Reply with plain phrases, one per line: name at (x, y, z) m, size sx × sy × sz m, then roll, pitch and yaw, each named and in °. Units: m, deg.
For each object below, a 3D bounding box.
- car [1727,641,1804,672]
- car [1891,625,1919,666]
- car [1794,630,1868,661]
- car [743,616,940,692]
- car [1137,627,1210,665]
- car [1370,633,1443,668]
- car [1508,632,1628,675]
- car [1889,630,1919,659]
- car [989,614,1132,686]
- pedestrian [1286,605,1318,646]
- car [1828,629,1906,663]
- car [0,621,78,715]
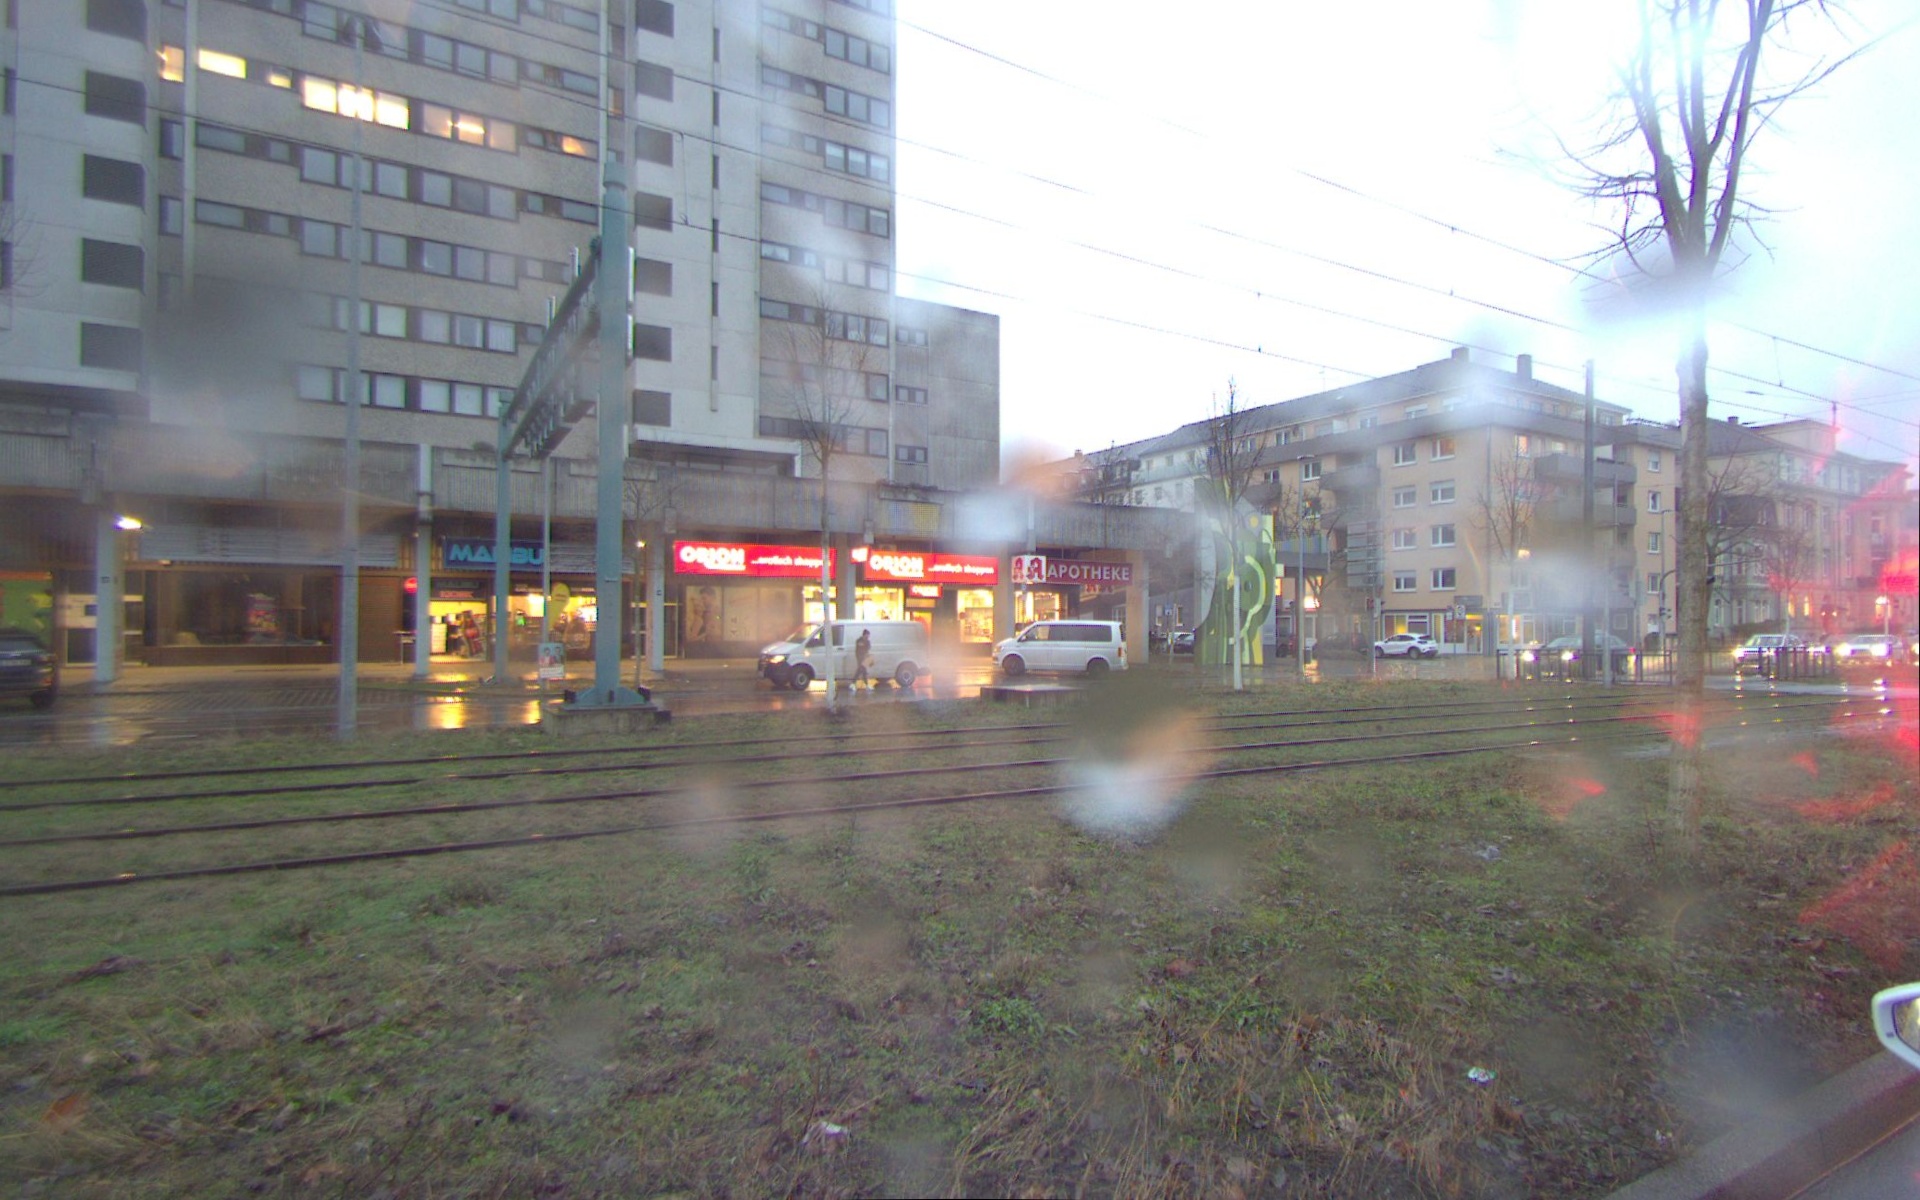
car at (35.494, 2.461, 44.231) m, size 4.108 × 1.294 × 1.679 m, roll 2°, pitch -2°, yaw -36°
car at (40.853, 1.929, 41.865) m, size 3.954 × 1.623 × 1.983 m, roll 2°, pitch 0°, yaw -31°
car at (49.222, 2.579, 56.764) m, size 3.952 × 1.623 × 1.941 m, roll 2°, pitch 0°, yaw -30°
car at (-3.511, 1.590, 29.971) m, size 5.490 × 2.073 × 1.987 m, roll 2°, pitch 0°, yaw -26°
car at (12.383, 2.636, 58.168) m, size 3.830 × 2.040 × 1.884 m, roll 2°, pitch 0°, yaw -31°
car at (27.827, 3.096, 62.648) m, size 1.825 × 1.968 × 3.720 m, roll 1°, pitch 0°, yaw -37°
car at (21.655, 1.880, 35.754) m, size 4.265 × 1.350 × 1.850 m, roll 2°, pitch 0°, yaw -30°
car at (56.707, 2.644, 59.058) m, size 3.952 × 1.623 × 1.941 m, roll 2°, pitch 0°, yaw -30°
car at (3.568, 1.714, 35.462) m, size 4.734 × 2.274 × 2.001 m, roll 2°, pitch 0°, yaw 15°
pedestrian at (17.181, 1.277, 50.453) m, size 1.253 × 2.040 × 1.004 m, roll -1°, pitch -1°, yaw 37°
car at (45.909, 2.307, 50.828) m, size 3.953 × 1.598 × 1.858 m, roll 1°, pitch -1°, yaw -30°
car at (-20.781, 1.377, 21.182) m, size 4.067 × 1.715 × 1.982 m, roll 2°, pitch 0°, yaw 28°
